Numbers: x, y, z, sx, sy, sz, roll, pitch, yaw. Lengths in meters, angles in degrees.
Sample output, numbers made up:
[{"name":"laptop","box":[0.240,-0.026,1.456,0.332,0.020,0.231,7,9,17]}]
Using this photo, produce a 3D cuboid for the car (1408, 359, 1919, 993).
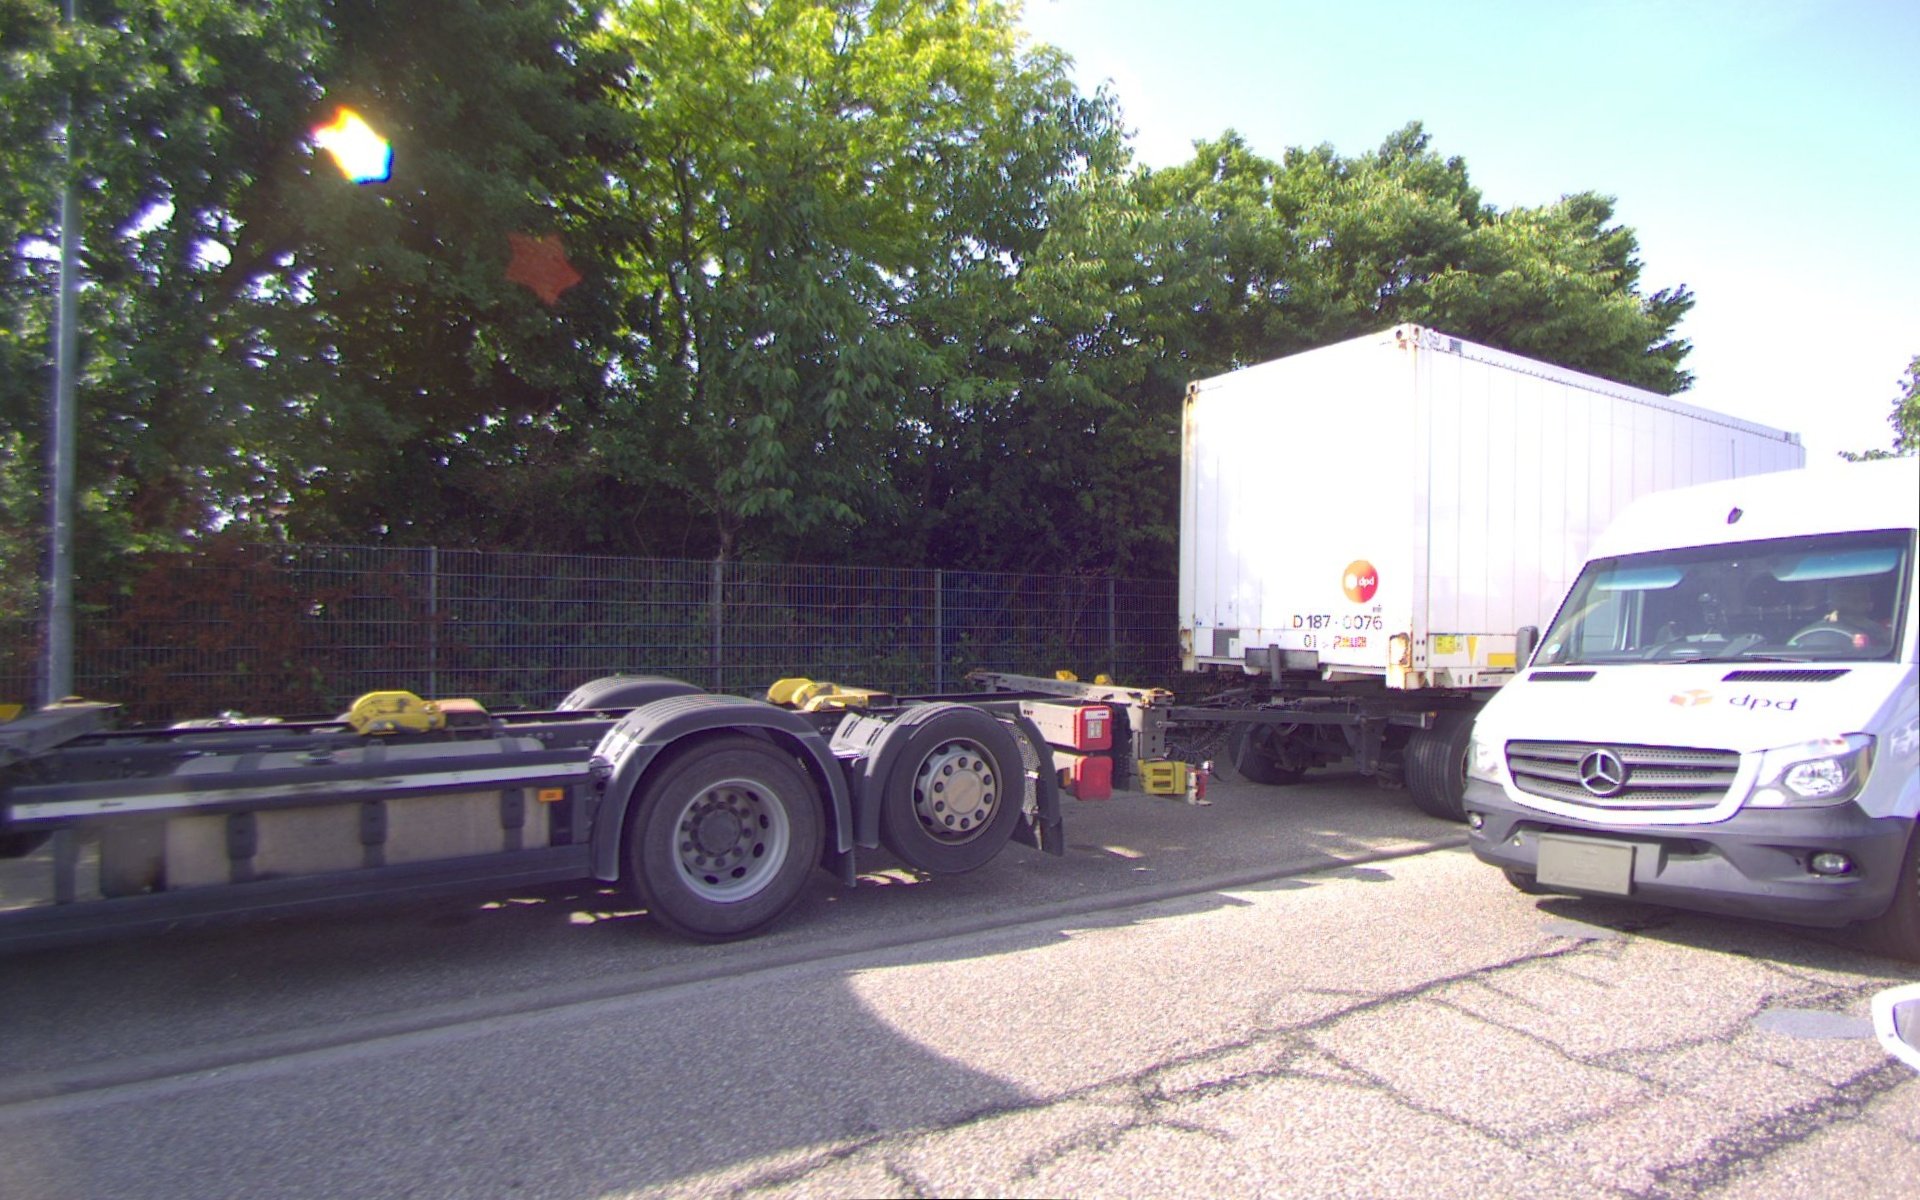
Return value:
[{"name":"car","box":[6.078,0.404,6.744,6.909,2.580,1.984,1,-3,-31]}]

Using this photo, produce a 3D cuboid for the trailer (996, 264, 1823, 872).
[{"name":"trailer","box":[5.133,-0.097,10.193,9.654,3.936,2.686,1,-1,-32]}]

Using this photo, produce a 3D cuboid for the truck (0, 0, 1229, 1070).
[{"name":"truck","box":[-3.038,-0.308,5.228,9.524,3.936,2.700,1,-1,-31]}]
